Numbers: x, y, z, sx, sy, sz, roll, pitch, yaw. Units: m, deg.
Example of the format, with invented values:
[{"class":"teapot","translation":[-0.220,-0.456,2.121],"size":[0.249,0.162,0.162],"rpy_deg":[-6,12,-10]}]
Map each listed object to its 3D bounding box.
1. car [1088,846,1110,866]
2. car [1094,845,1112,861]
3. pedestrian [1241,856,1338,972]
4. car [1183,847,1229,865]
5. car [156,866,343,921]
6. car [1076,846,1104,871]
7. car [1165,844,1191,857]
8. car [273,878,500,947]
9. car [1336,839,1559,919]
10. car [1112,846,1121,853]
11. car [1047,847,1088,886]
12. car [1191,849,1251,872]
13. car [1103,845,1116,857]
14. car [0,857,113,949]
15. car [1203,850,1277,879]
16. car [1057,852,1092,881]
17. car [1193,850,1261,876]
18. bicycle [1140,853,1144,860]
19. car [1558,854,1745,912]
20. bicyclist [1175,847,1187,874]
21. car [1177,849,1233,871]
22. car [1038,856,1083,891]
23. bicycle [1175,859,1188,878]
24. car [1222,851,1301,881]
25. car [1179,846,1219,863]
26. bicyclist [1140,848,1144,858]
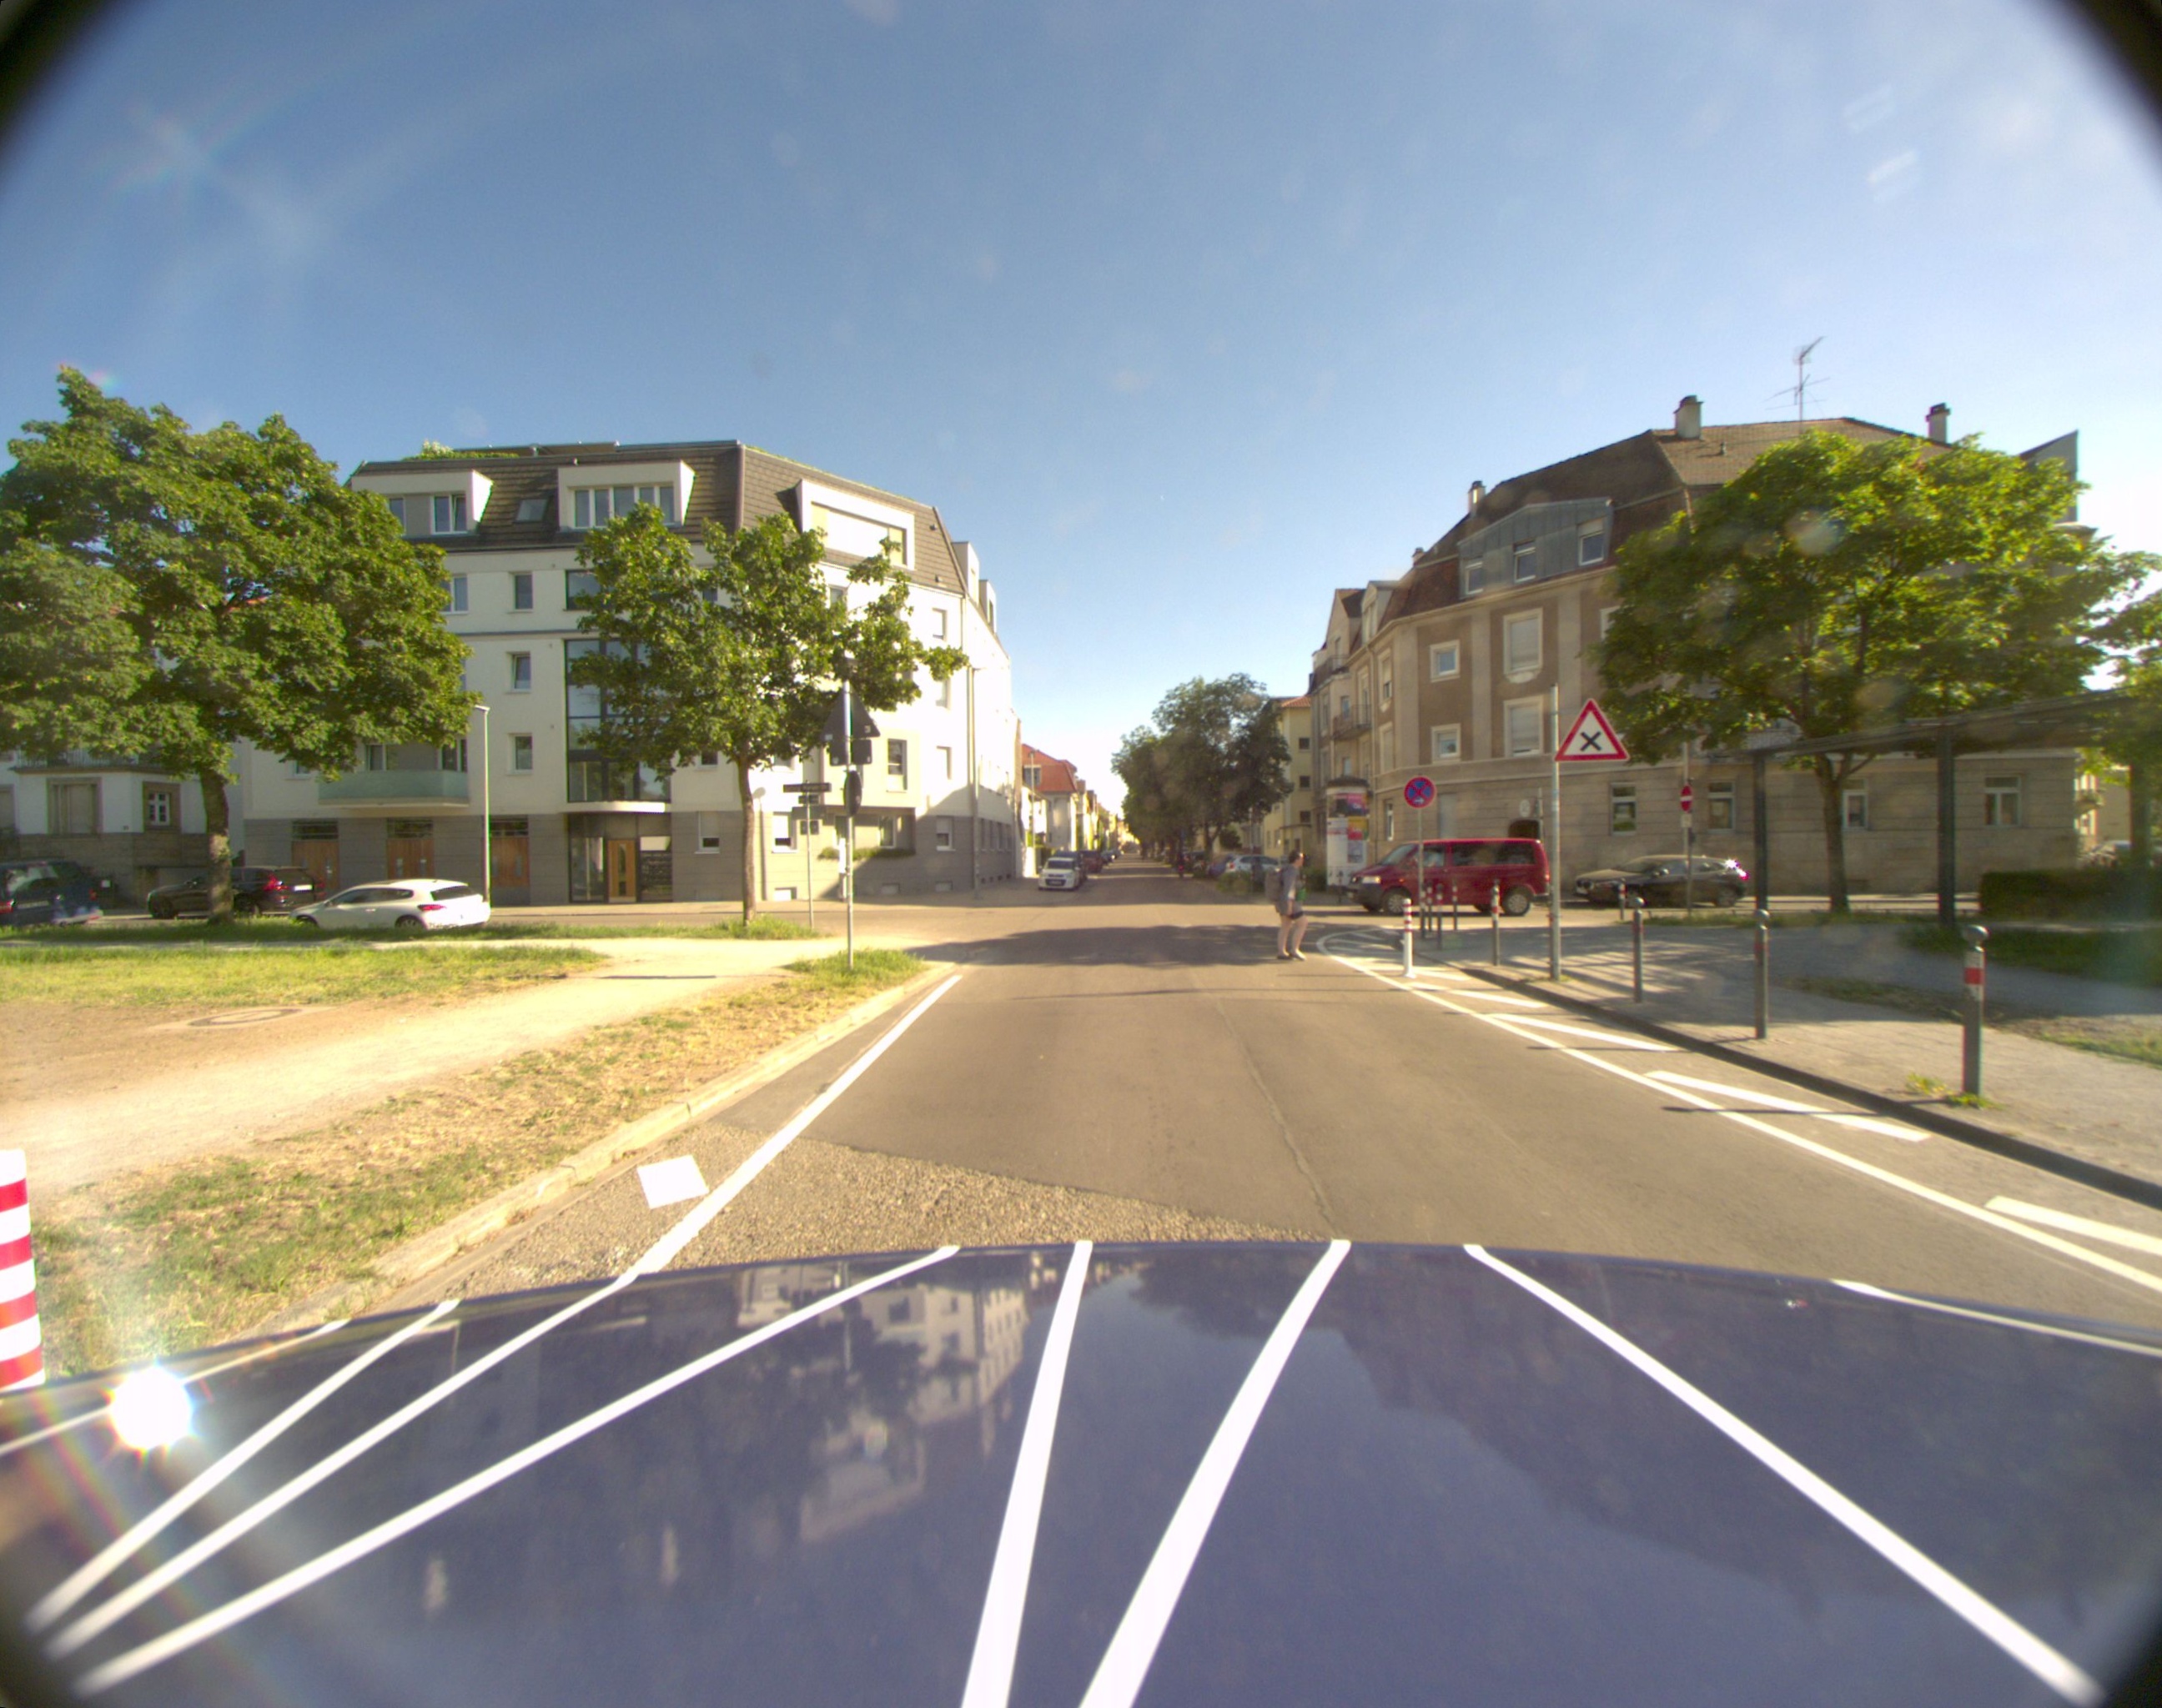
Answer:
[{"class":"car","translation":[1.809,0.144,75.379],"size":[1.883,1.860,4.402],"rpy_deg":[2,1,4]},{"class":"car","translation":[2.656,-0.070,90.814],"size":[1.883,1.860,4.403],"rpy_deg":[-1,0,4]},{"class":"pedestrian","translation":[3.126,0.868,11.474],"size":[1.091,1.664,0.912],"rpy_deg":[1,1,-13]},{"class":"car","translation":[11.275,0.139,68.599],"size":[3.789,1.486,1.692],"rpy_deg":[-2,1,-1]},{"class":"car","translation":[-27.534,1.287,25.248],"size":[4.284,1.673,1.896],"rpy_deg":[-1,2,5]},{"class":"car","translation":[0.743,0.317,61.308],"size":[1.883,1.860,4.402],"rpy_deg":[2,1,4]},{"class":"car","translation":[13.426,-0.463,105.293],"size":[3.527,1.693,1.692],"rpy_deg":[-2,1,2]},{"class":"car","translation":[-16.947,1.413,18.666],"size":[3.990,1.426,1.739],"rpy_deg":[-1,5,4]},{"class":"car","translation":[9.428,0.626,19.907],"size":[4.881,1.950,1.897],"rpy_deg":[0,2,4]},{"class":"car","translation":[7.954,-1.032,168.055],"size":[1.883,1.427,4.348],"rpy_deg":[-1,0,4]},{"class":"car","translation":[-0.653,0.598,39.554],"size":[1.664,1.825,4.257],"rpy_deg":[2,1,4]},{"class":"car","translation":[9.906,0.438,53.855],"size":[3.791,1.486,1.691],"rpy_deg":[-2,1,-9]},{"class":"car","translation":[4.391,-0.499,117.145],"size":[1.883,1.734,4.403],"rpy_deg":[-1,0,4]},{"class":"car","translation":[-27.506,1.191,19.157],"size":[3.989,2.073,1.783],"rpy_deg":[-1,5,5]},{"class":"car","translation":[8.902,0.602,42.699],"size":[3.788,1.486,1.692],"rpy_deg":[-2,1,1]},{"class":"car","translation":[-0.356,0.695,44.954],"size":[1.664,1.533,4.067],"rpy_deg":[2,1,4]},{"class":"car","translation":[9.146,0.564,47.691],"size":[3.791,1.486,1.691],"rpy_deg":[-2,1,-9]},{"class":"bicycle","translation":[9.206,0.404,114.266],"size":[0.644,1.102,2.066],"rpy_deg":[-1,1,5]},{"class":"car","translation":[16.651,0.816,22.341],"size":[4.011,1.476,1.867],"rpy_deg":[-1,4,1]},{"class":"bicyclist","translation":[5.990,0.399,45.482],"size":[0.644,1.610,0.637],"rpy_deg":[-1,1,5]},{"class":"car","translation":[9.313,0.415,57.127],"size":[3.791,1.486,1.691],"rpy_deg":[-2,1,-9]},{"class":"car","translation":[-0.882,0.869,35.097],"size":[1.664,1.440,3.689],"rpy_deg":[2,1,4]},{"class":"bicycle","translation":[5.993,0.847,45.466],"size":[0.644,1.102,2.066],"rpy_deg":[-1,1,5]},{"class":"car","translation":[9.567,0.641,40.470],"size":[3.788,1.436,1.692],"rpy_deg":[-2,1,1]},{"class":"car","translation":[11.325,0.049,72.946],"size":[3.528,1.486,1.692],"rpy_deg":[-2,1,-1]},{"class":"bicyclist","translation":[9.210,-0.122,114.314],"size":[0.644,1.557,1.043],"rpy_deg":[-1,1,5]}]
